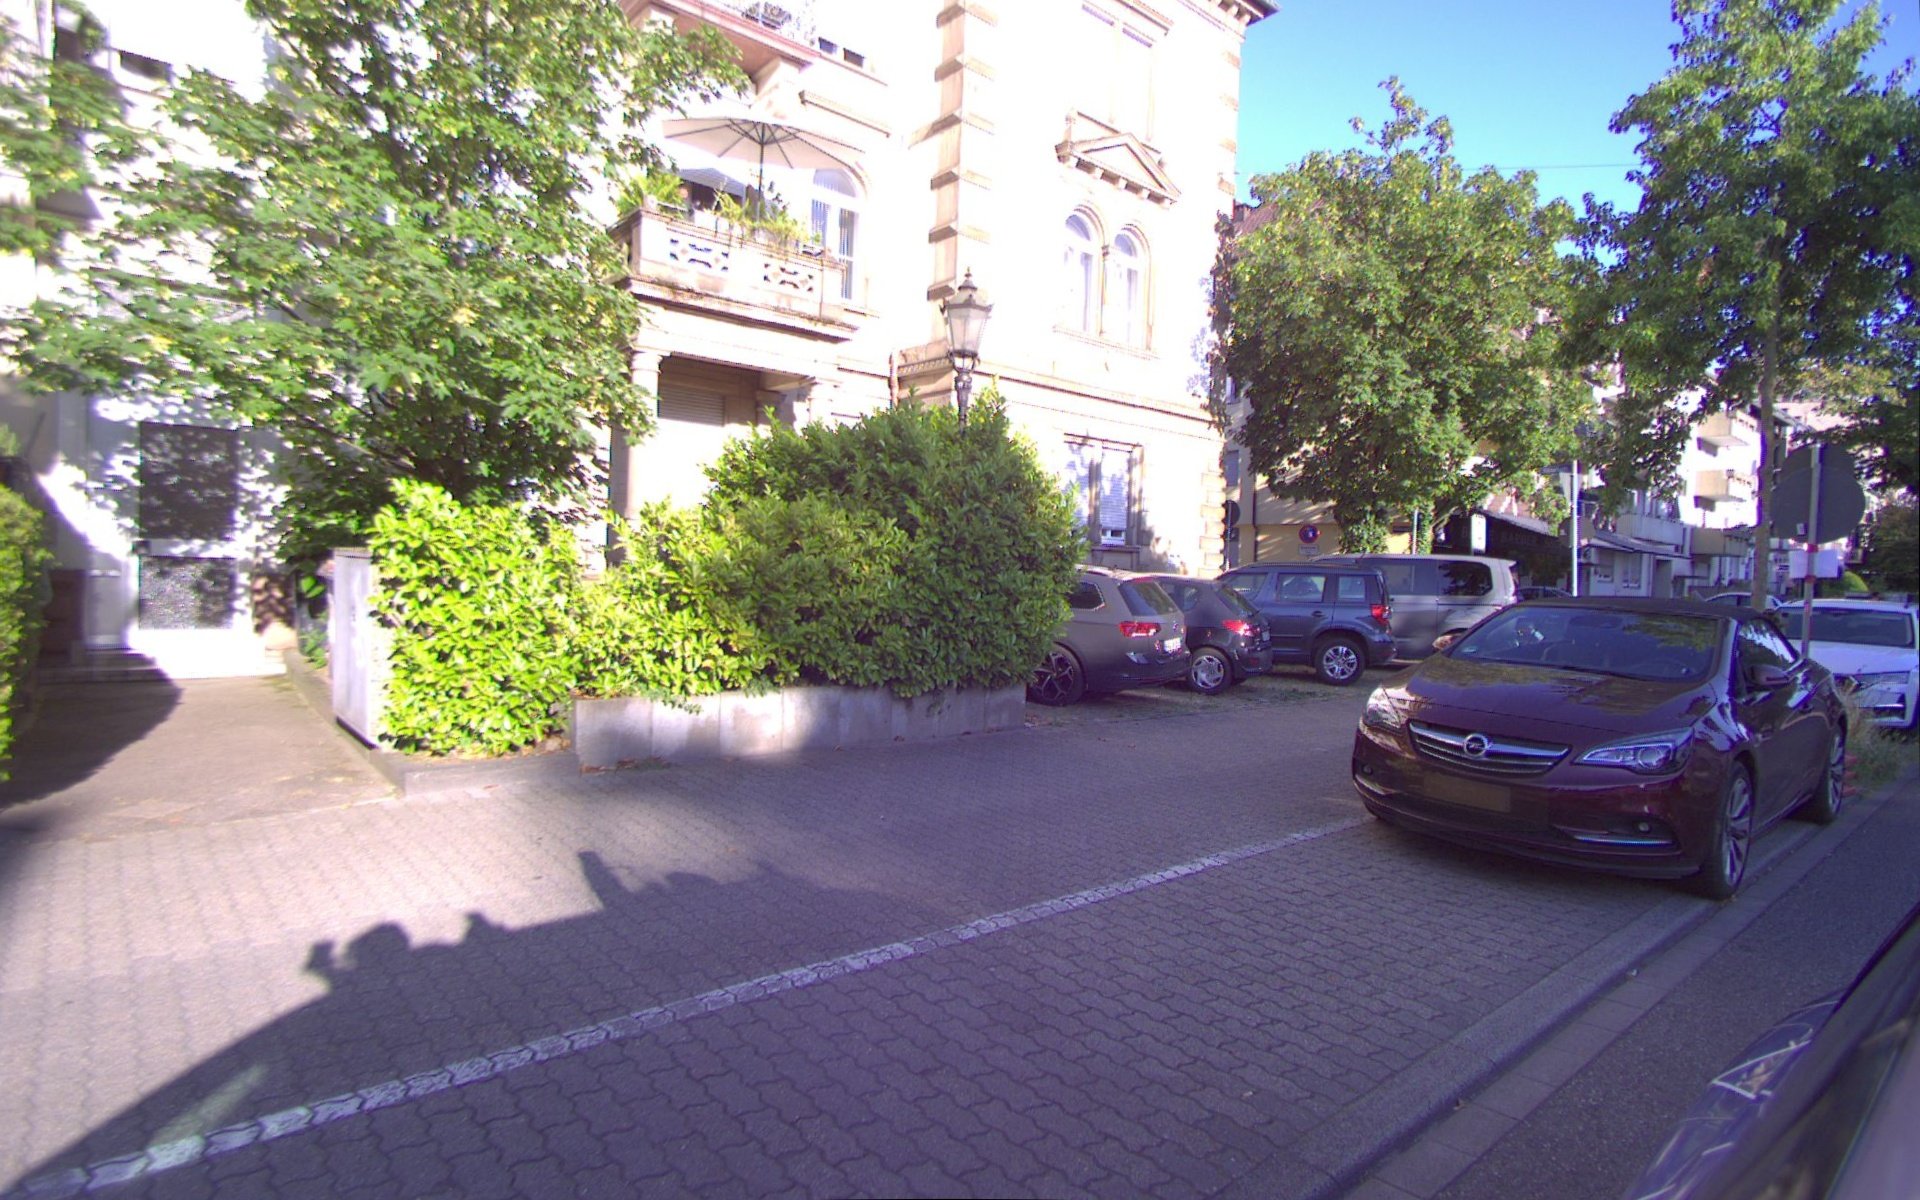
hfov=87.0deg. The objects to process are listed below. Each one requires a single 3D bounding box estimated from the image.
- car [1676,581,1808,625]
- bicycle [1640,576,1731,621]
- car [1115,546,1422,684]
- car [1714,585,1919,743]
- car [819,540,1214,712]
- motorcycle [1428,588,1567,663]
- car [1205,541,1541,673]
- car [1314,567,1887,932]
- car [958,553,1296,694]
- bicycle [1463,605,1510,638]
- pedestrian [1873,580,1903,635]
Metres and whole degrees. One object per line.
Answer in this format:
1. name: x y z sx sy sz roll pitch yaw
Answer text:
1. car: 30.220 0.068 39.176 1.550 1.523 3.869 0 2 -45
2. bicycle: 25.430 -0.076 35.508 0.912 1.459 2.457 0 2 -42
3. car: 4.489 0.137 14.962 4.050 1.720 1.776 3 2 21
4. car: 10.598 0.613 11.869 4.540 1.496 1.825 0 2 -40
5. car: 0.584 0.177 11.766 4.220 1.529 1.772 5 3 32
6. motorcycle: 9.966 0.435 18.815 2.153 1.255 0.778 3 2 40
7. car: 6.728 0.030 16.940 4.881 1.923 1.907 2 1 22
8. car: 4.252 0.600 6.362 4.534 1.437 1.761 0 4 -41
9. car: 2.176 0.216 13.381 4.061 1.458 1.701 4 3 27
10. bicycle: 13.317 0.539 25.593 1.504 0.777 0.486 0 2 -40
11. pedestrian: 30.903 0.241 33.710 0.552 1.794 0.619 2 1 -40
